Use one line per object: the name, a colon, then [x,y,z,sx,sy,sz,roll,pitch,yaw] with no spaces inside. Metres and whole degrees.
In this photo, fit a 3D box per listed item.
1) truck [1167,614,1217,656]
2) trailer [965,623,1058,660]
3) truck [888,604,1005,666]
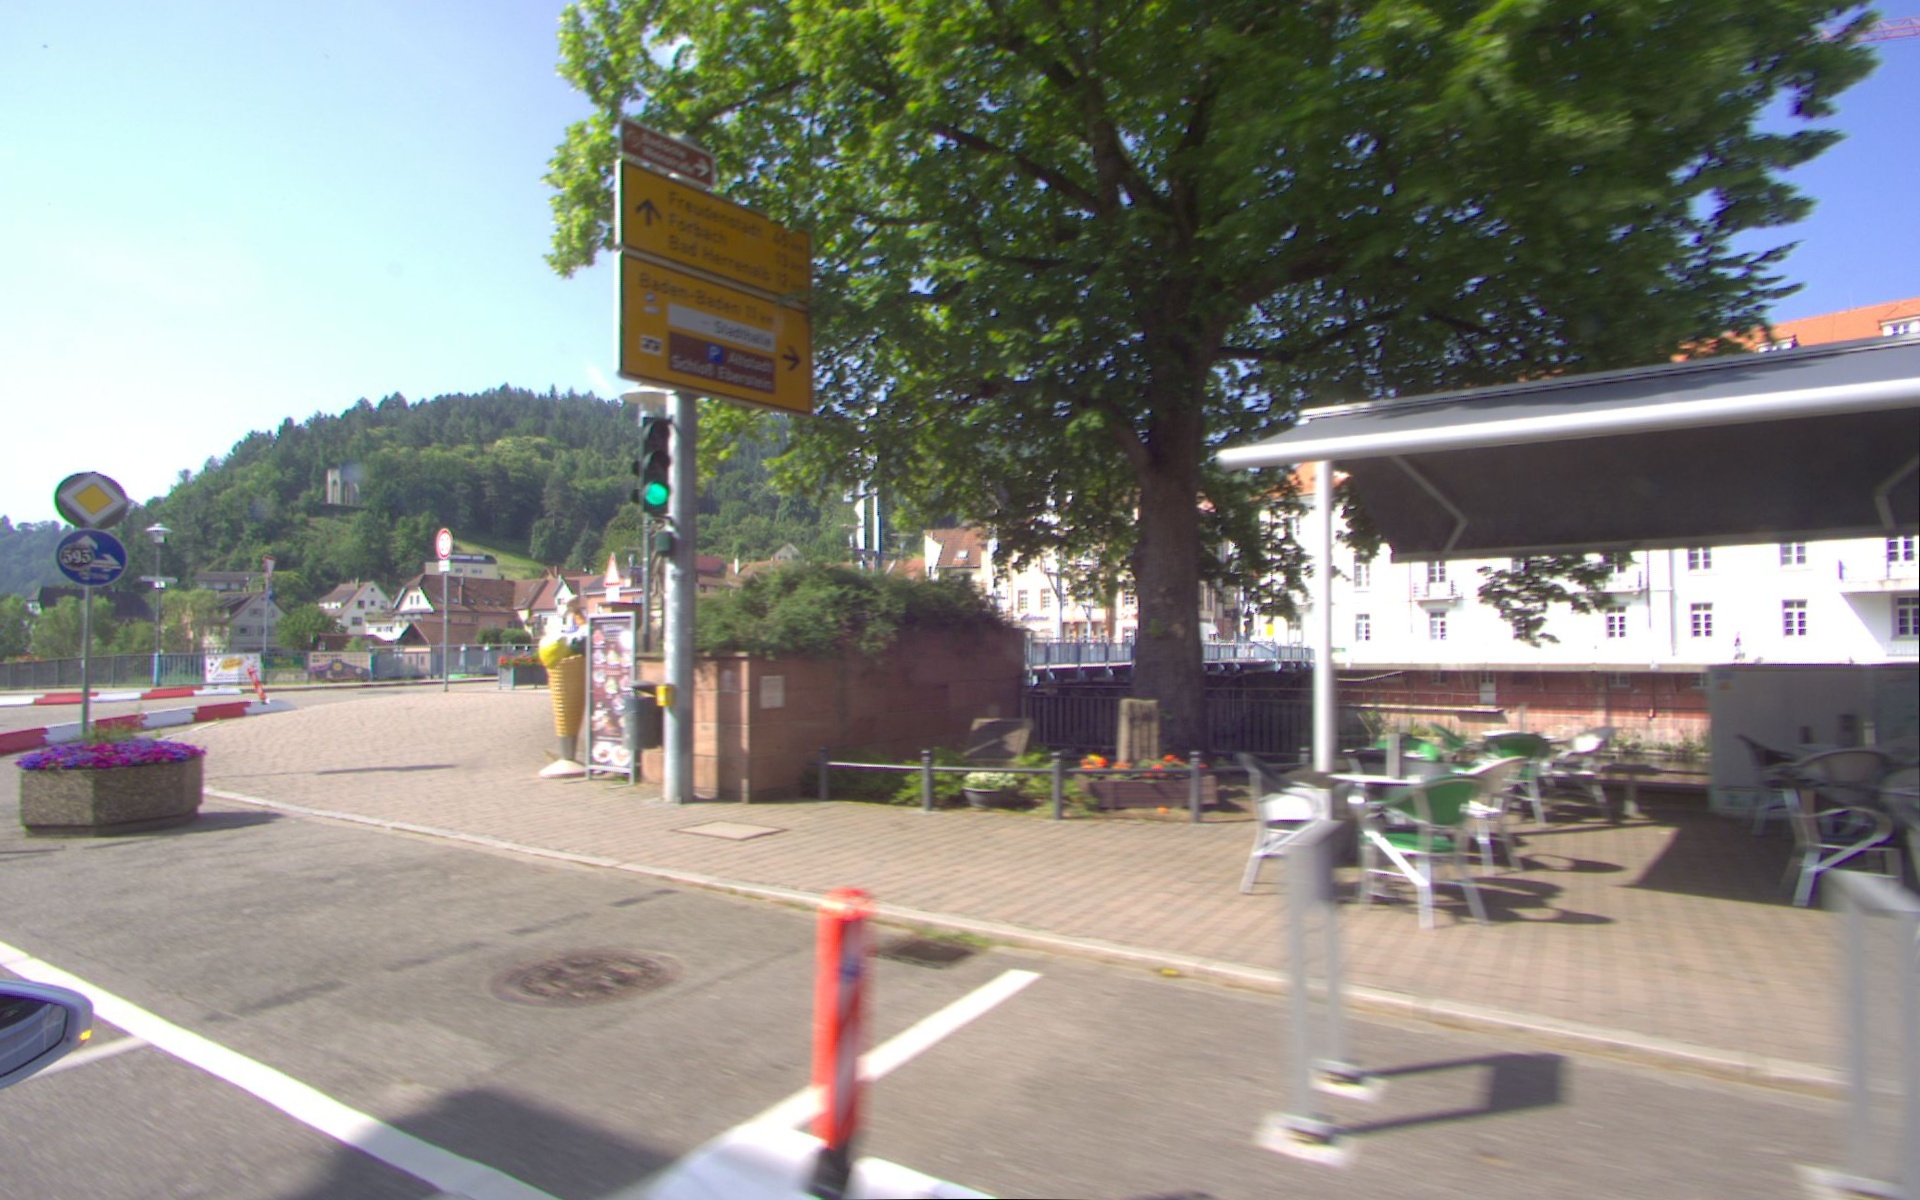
truck: [14.978,2.289,64.544,1.841,2.617,4.239,-1,-3,33]
trailer: [2.800,2.176,53.085,2.581,1.850,5.612,-2,-3,31]
truck: [-0.483,1.603,47.636,2.082,2.733,7.098,-2,-2,31]
